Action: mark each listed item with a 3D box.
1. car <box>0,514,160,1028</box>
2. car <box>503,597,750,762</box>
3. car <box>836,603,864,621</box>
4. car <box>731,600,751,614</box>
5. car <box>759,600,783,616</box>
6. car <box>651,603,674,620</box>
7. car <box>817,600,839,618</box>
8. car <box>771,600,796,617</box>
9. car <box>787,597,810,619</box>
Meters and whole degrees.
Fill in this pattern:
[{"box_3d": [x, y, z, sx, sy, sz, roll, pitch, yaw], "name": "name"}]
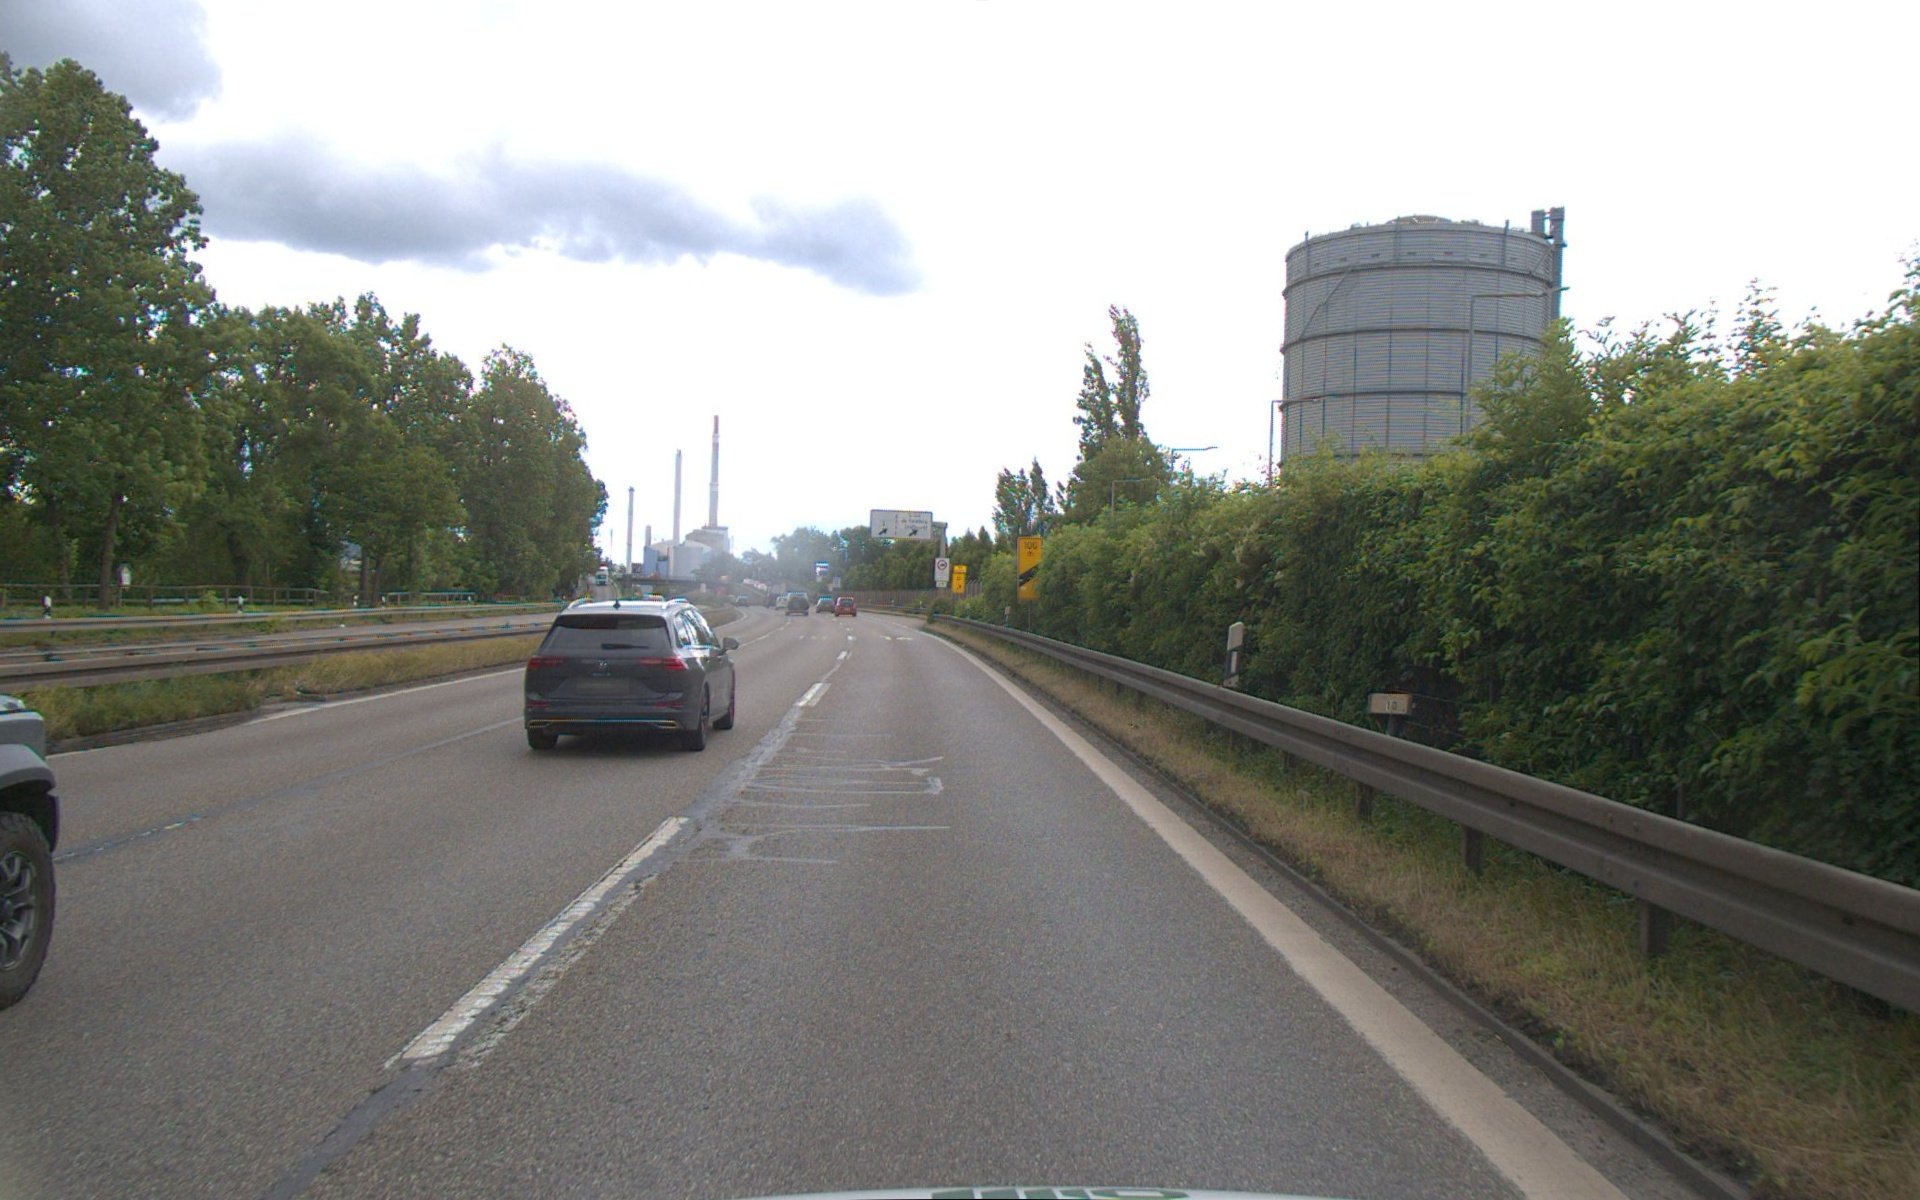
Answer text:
[{"box_3d": [-3.978, 0.566, 4.693, 1.664, 1.715, 3.997, 1, 0, -4], "name": "car"}, {"box_3d": [-3.348, 0.729, 17.530, 1.808, 1.448, 4.897, 2, 0, -3], "name": "car"}, {"box_3d": [-9.112, 0.947, 136.418, 1.937, 1.448, 4.892, 1, 0, -8], "name": "car"}, {"box_3d": [-29.790, 0.927, 224.702, 1.673, 1.772, 4.365, 0, 0, -21], "name": "car"}, {"box_3d": [-24.018, 0.980, 209.985, 1.984, 1.968, 4.871, 1, 0, -20], "name": "car"}, {"box_3d": [-25.131, 0.954, 139.842, 1.583, 1.410, 3.728, 2, 0, -5], "name": "car"}, {"box_3d": [-13.180, 0.920, 164.773, 1.667, 1.772, 4.381, 0, 0, -11], "name": "car"}, {"box_3d": [-20.500, 0.974, 191.759, 1.982, 1.968, 4.876, 1, 0, -18], "name": "car"}, {"box_3d": [-13.623, 0.684, 139.276, 1.666, 1.772, 3.992, 1, 0, -9], "name": "car"}]
